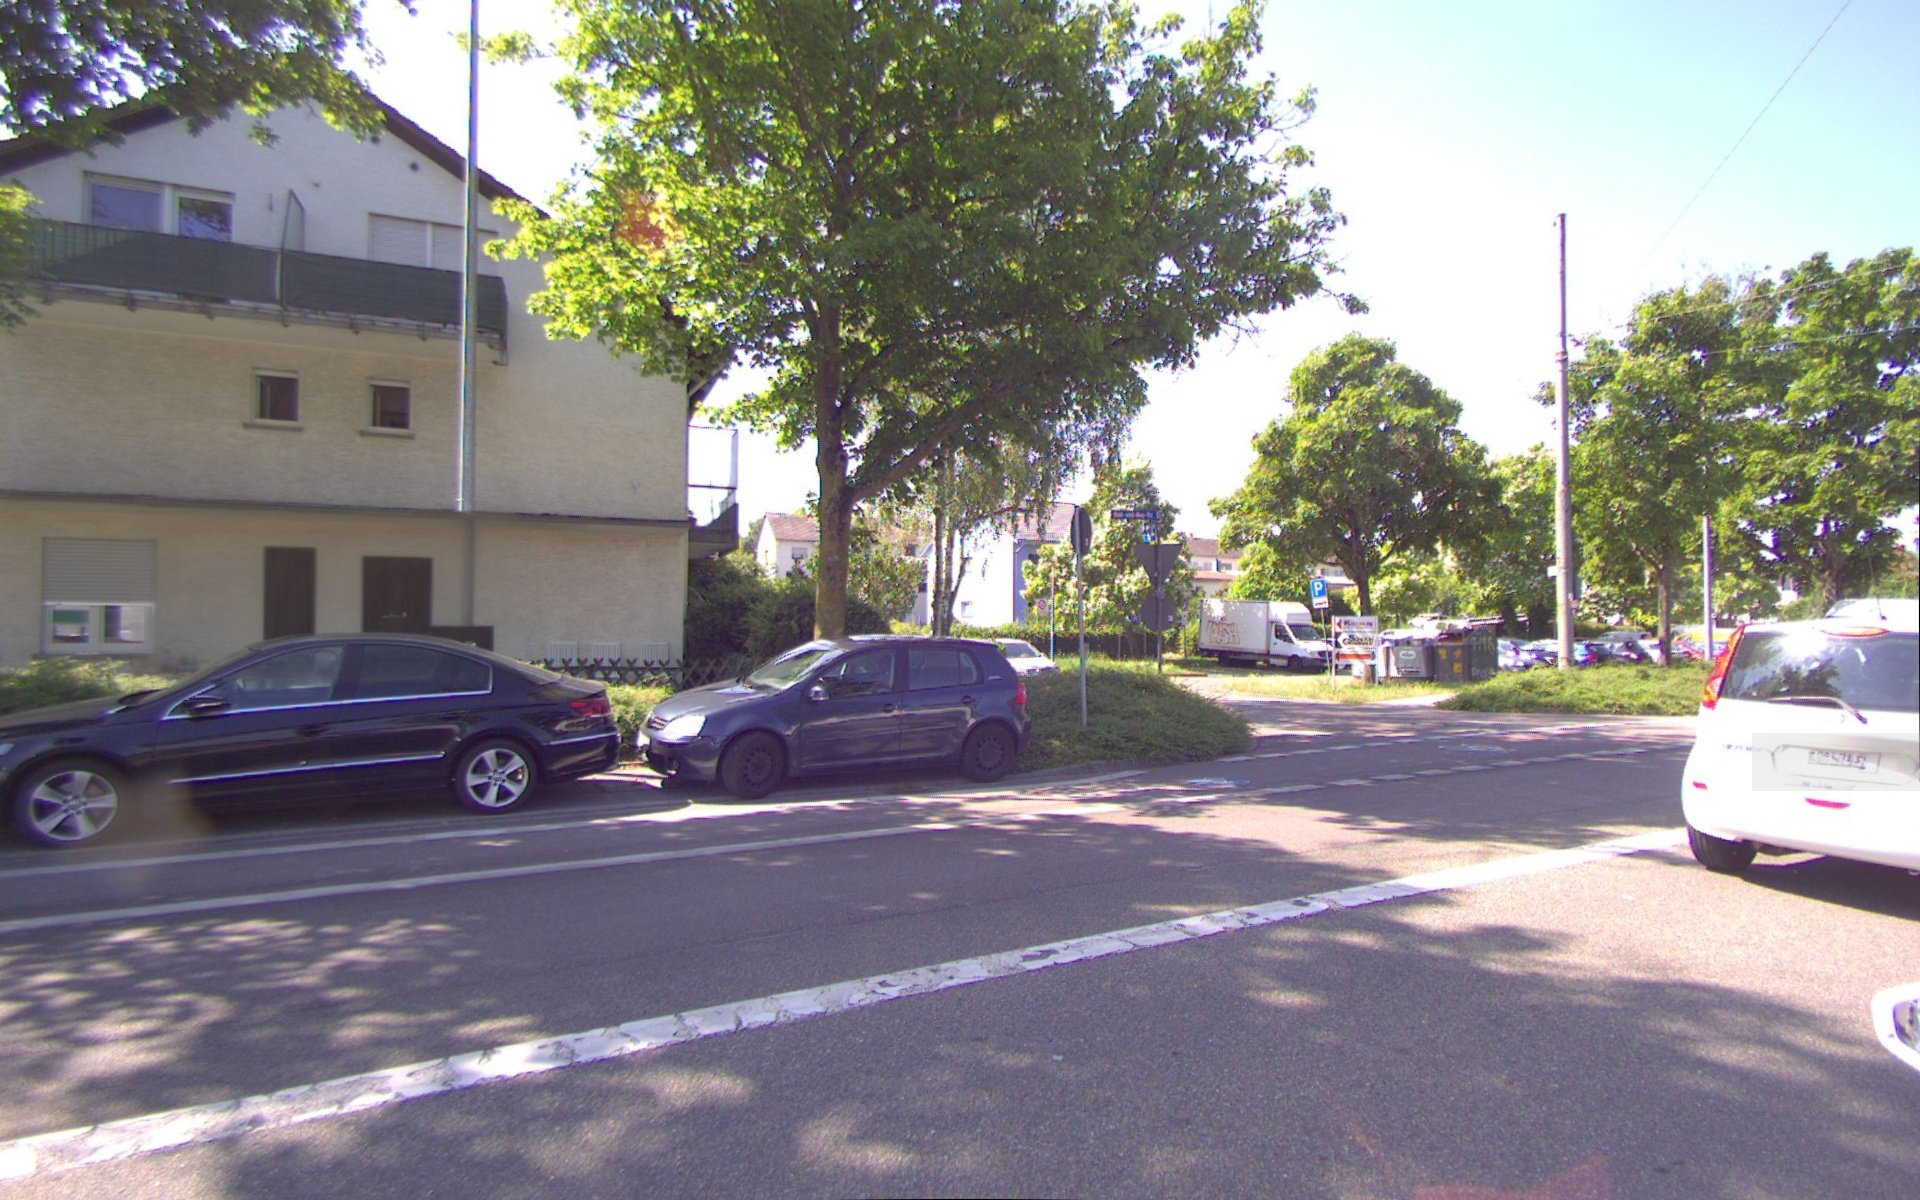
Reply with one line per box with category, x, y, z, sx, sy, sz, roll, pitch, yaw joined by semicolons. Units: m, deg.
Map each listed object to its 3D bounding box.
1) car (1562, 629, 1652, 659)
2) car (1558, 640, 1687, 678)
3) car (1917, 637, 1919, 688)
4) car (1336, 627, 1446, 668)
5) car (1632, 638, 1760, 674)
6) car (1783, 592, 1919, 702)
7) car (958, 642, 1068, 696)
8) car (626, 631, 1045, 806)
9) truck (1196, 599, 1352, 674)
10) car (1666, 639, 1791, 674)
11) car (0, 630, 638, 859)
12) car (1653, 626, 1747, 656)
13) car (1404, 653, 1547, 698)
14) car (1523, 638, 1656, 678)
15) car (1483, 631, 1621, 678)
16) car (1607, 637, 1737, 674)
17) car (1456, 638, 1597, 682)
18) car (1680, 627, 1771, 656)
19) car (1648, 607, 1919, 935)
car;44.558;3.009;69.247;2.043;1.811;4.762;2;0;-34
car;26.360;2.344;40.092;1.712;1.434;3.964;2;-4;-33
car;29.365;1.833;28.695;4.230;1.434;1.854;1;0;-31
car;21.670;2.339;50.685;2.043;1.811;4.762;2;0;-34
car;30.749;2.349;42.080;1.712;1.434;3.964;2;-4;-33
car;23.800;1.155;25.772;5.745;2.550;2.114;1;0;-29
car;1.418;1.930;28.441;1.704;1.434;3.983;1;-3;-20
car;-1.268;1.103;10.483;3.988;1.462;1.718;1;0;-28
truck;14.449;1.594;46.798;2.646;3.151;6.967;1;0;-30
car;33.172;2.462;43.449;1.712;1.434;3.964;2;-4;-33
car;-5.223;1.012;8.334;4.568;1.434;1.854;1;0;-31
car;50.533;2.793;68.694;2.043;1.811;4.762;2;0;-34
car;17.314;2.504;33.923;1.712;1.434;3.964;2;-4;-33
car;24.179;2.227;38.711;1.712;1.434;3.964;2;-4;-33
car;21.422;1.985;36.505;1.712;1.631;3.964;2;-4;-33
car;28.838;2.259;40.780;1.712;1.434;3.964;2;-4;-33
car;19.735;2.090;35.142;1.712;1.434;3.964;2;-4;-33
car;54.436;2.926;71.538;2.043;1.811;4.762;2;0;-34
car;6.369;0.862;6.241;4.491;1.568;1.655;1;-1;-29
